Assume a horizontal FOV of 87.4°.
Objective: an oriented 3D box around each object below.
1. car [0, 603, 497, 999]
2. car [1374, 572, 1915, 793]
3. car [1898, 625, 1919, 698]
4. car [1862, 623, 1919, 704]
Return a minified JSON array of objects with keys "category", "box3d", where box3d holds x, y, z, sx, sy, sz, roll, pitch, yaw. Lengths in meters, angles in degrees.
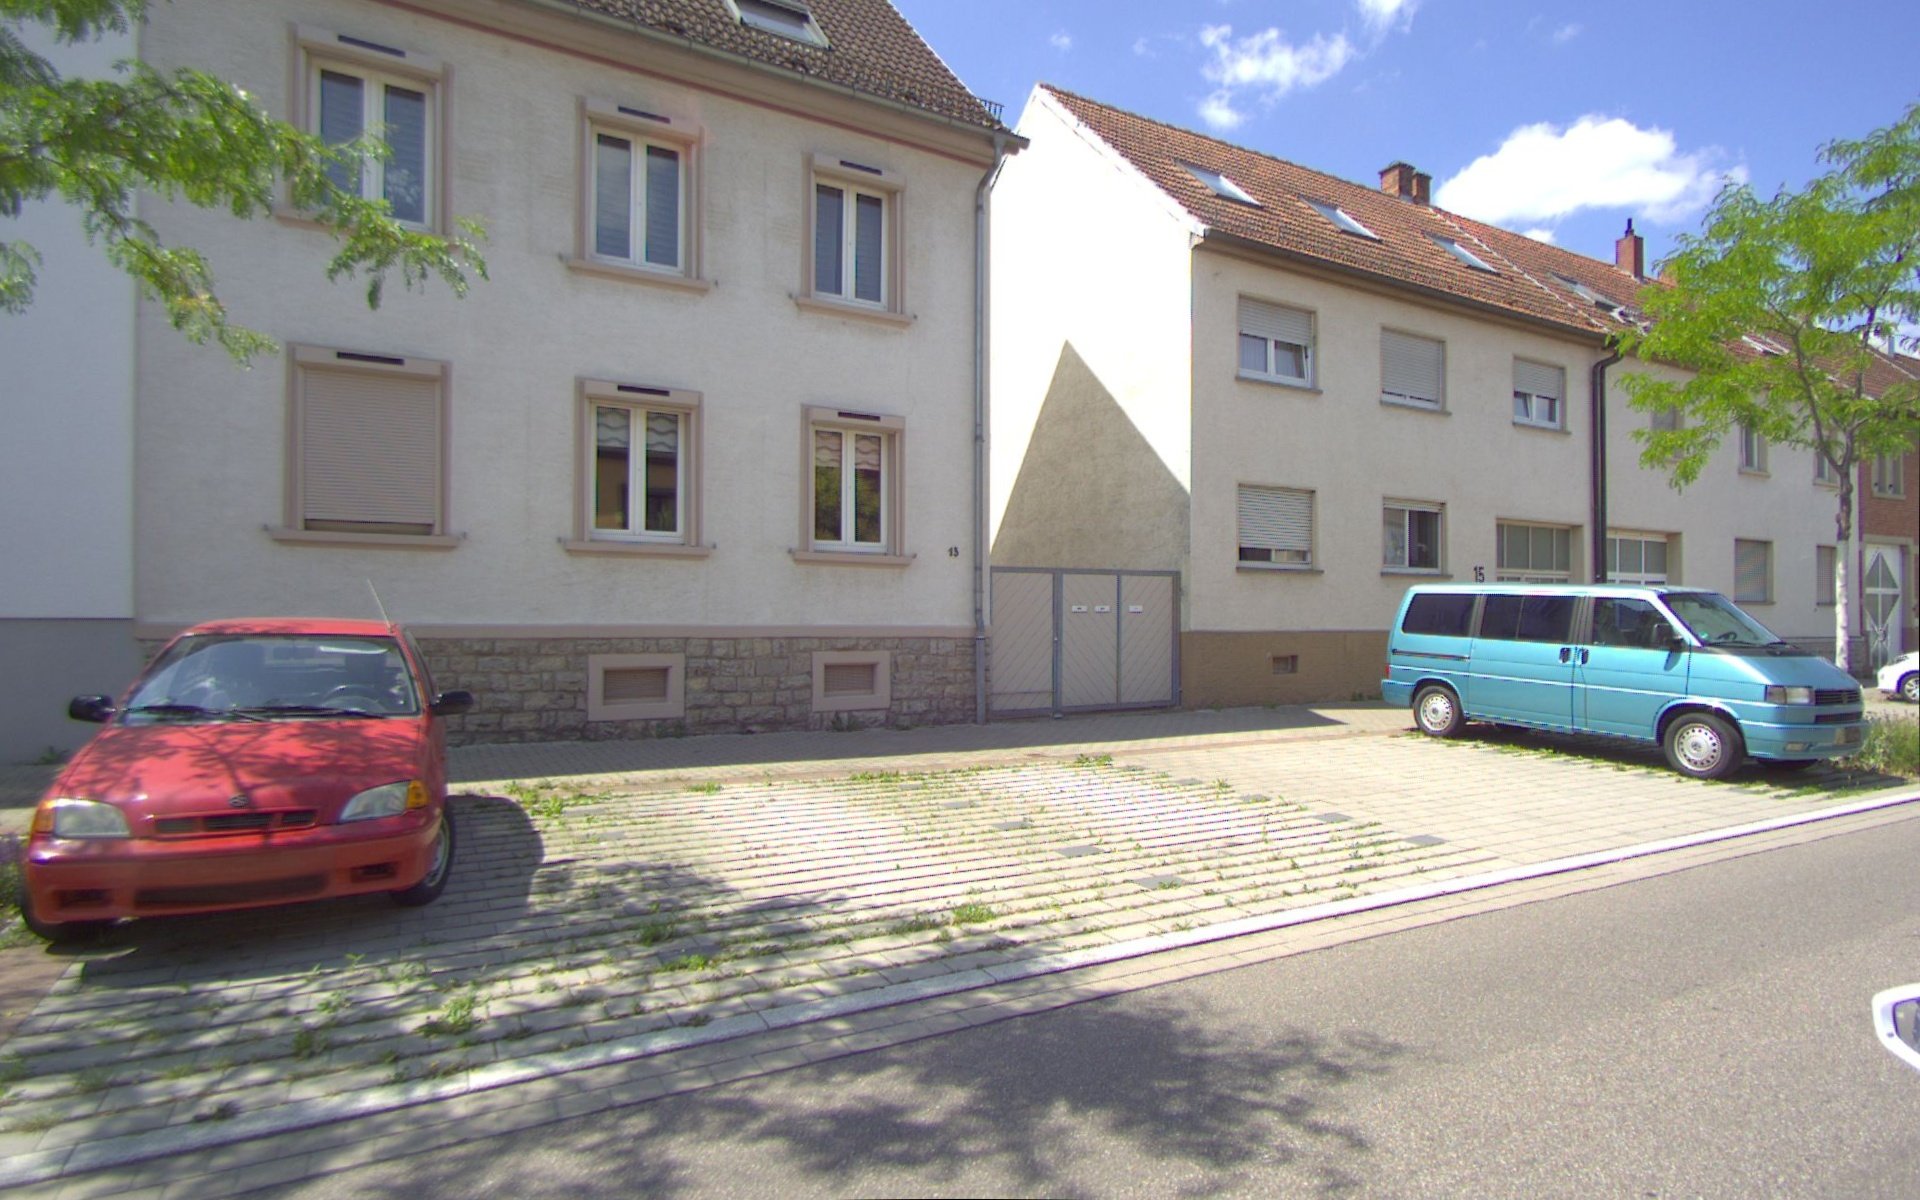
[{"category":"car","box3d":[-3.654,0.740,5.611,1.704,1.404,3.767,1,-1,-28]},{"category":"car","box3d":[7.283,0.745,11.310,1.975,1.932,4.658,1,-1,-28]},{"category":"car","box3d":[21.205,1.262,19.595,1.750,1.508,3.902,1,-1,-27]},{"category":"car","box3d":[19.233,1.200,18.238,1.750,1.508,3.902,1,-1,-27]}]
